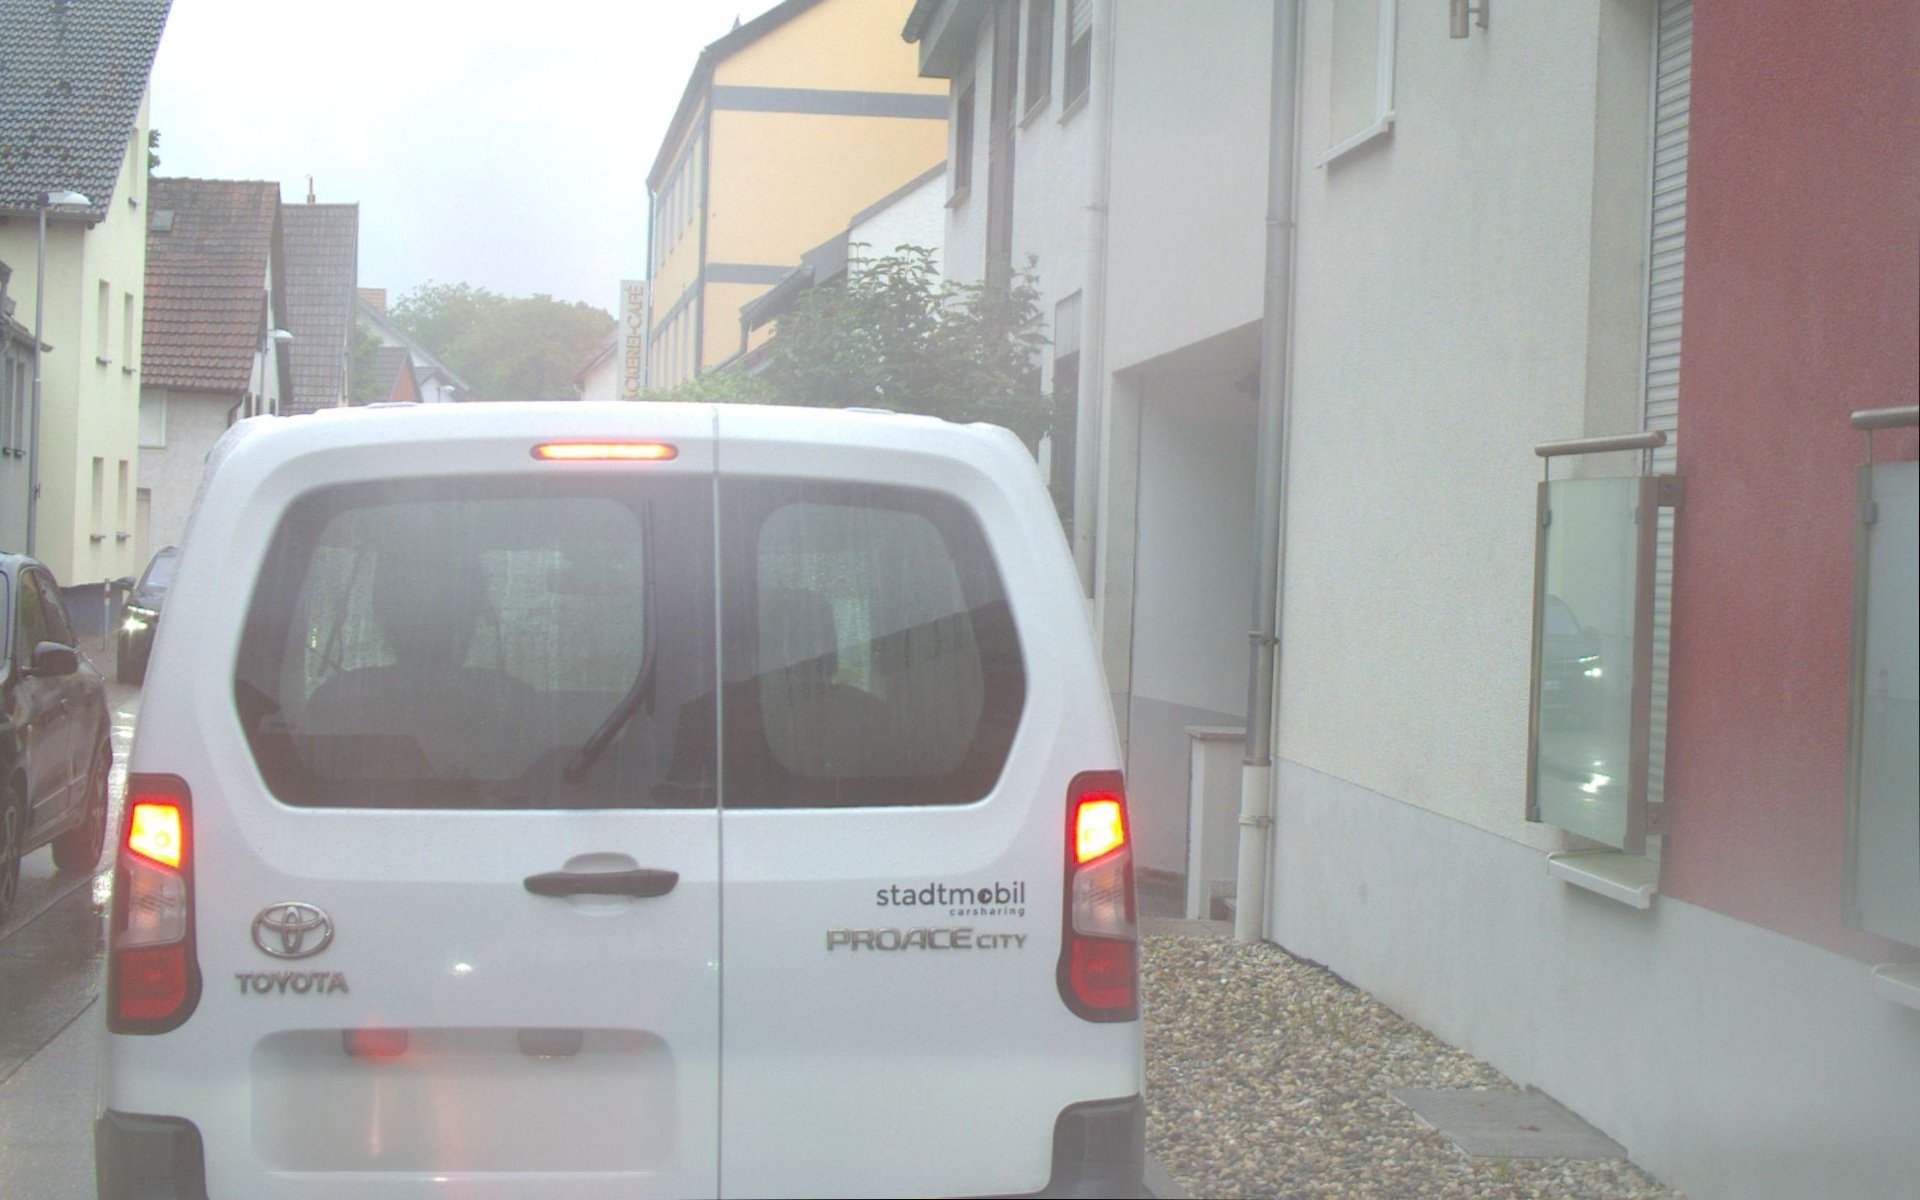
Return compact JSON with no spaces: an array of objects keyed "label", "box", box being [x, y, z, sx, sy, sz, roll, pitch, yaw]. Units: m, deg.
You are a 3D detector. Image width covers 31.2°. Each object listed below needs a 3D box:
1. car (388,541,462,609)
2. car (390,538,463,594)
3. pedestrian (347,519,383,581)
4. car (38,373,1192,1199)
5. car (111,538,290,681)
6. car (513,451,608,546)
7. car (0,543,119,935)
[{"label":"car","box":[-12.113,-0.574,77.710,1.560,1.472,4.001,1,1,-10]},{"label":"car","box":[-13.754,-0.873,88.523,1.779,1.390,4.001,1,1,-10]},{"label":"pedestrian","box":[-18.248,-1.535,105.521,1.050,1.886,0.877,1,0,-9]},{"label":"car","box":[-0.830,0.530,7.337,1.774,1.774,4.001,1,1,-9]},{"label":"car","box":[-8.974,0.075,40.900,1.832,1.550,4.241,2,0,-10]},{"label":"car","box":[-8.845,-2.232,76.301,1.993,2.007,4.001,1,1,-6]},{"label":"car","box":[-4.733,0.492,15.075,1.604,1.508,3.689,2,1,-8]}]
